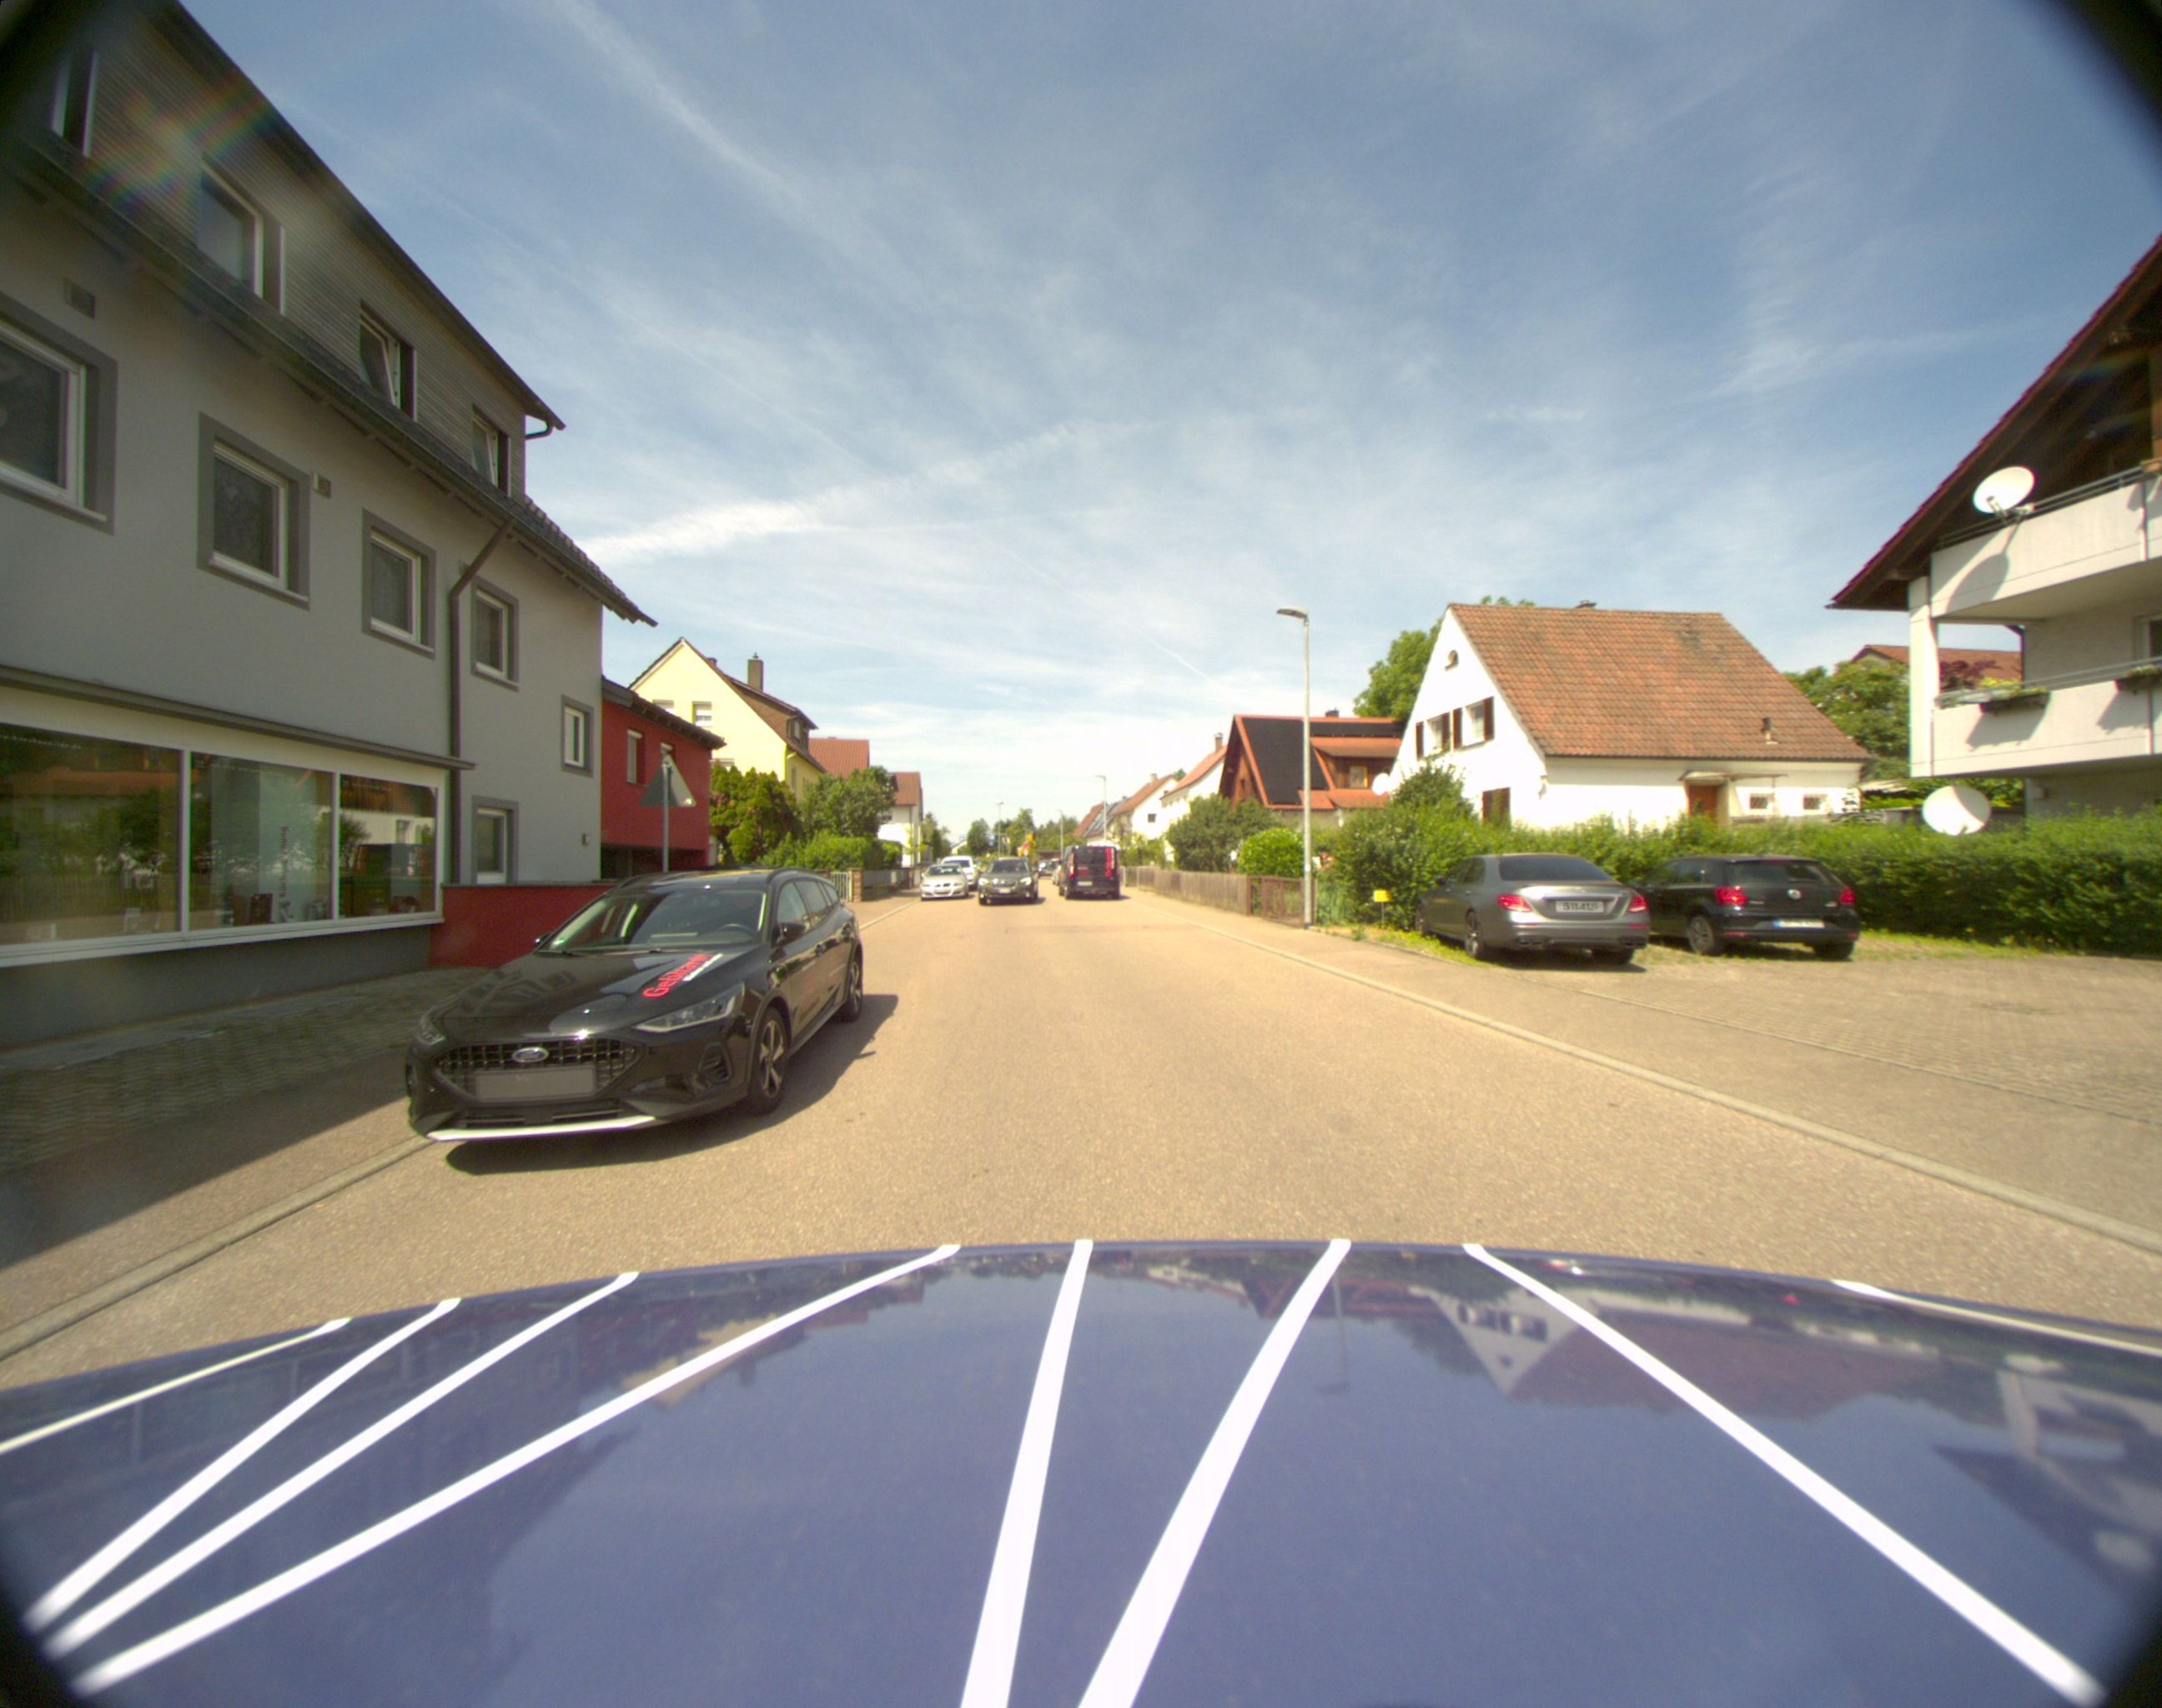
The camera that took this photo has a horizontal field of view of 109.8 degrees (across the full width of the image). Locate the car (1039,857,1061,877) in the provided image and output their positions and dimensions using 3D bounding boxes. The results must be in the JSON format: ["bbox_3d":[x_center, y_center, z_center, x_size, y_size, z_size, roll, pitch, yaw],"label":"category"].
[{"bbox_3d":[-2.446,0.989,59.420,1.602,1.450,3.658,0,0,-4],"label":"car"}]

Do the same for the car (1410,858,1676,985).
[{"bbox_3d":[6.353,0.800,11.131,1.830,1.423,4.566,-1,0,11],"label":"car"}]

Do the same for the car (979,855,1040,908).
[{"bbox_3d":[-2.416,0.892,26.514,1.838,1.638,4.322,-1,0,-2],"label":"car"}]

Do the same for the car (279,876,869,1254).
[{"bbox_3d":[-2.914,1.018,5.702,1.767,1.518,4.403,-2,0,-6],"label":"car"}]

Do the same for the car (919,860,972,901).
[{"bbox_3d":[-5.389,1.017,30.730,1.757,1.412,4.418,-2,0,-6],"label":"car"}]

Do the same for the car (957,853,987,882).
[{"bbox_3d":[-7.054,0.825,49.506,1.671,1.739,4.053,-2,0,-6],"label":"car"}]

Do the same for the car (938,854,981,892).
[{"bbox_3d":[-5.861,0.880,37.109,1.741,1.652,4.334,-2,0,-6],"label":"car"}]

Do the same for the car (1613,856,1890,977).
[{"bbox_3d":[9.768,0.792,11.472,1.691,1.492,3.656,-1,0,15],"label":"car"}]

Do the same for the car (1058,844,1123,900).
[{"bbox_3d":[0.254,0.645,29.020,1.974,1.940,4.693,-1,0,-5],"label":"car"}]

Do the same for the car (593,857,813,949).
[{"bbox_3d":[-9.227,1.150,18.911,4.380,1.659,1.875,-6,1,-7],"label":"car"}]

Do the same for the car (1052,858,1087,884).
[{"bbox_3d":[-0.692,0.933,43.209,1.586,1.434,3.263,0,0,-7],"label":"car"}]
